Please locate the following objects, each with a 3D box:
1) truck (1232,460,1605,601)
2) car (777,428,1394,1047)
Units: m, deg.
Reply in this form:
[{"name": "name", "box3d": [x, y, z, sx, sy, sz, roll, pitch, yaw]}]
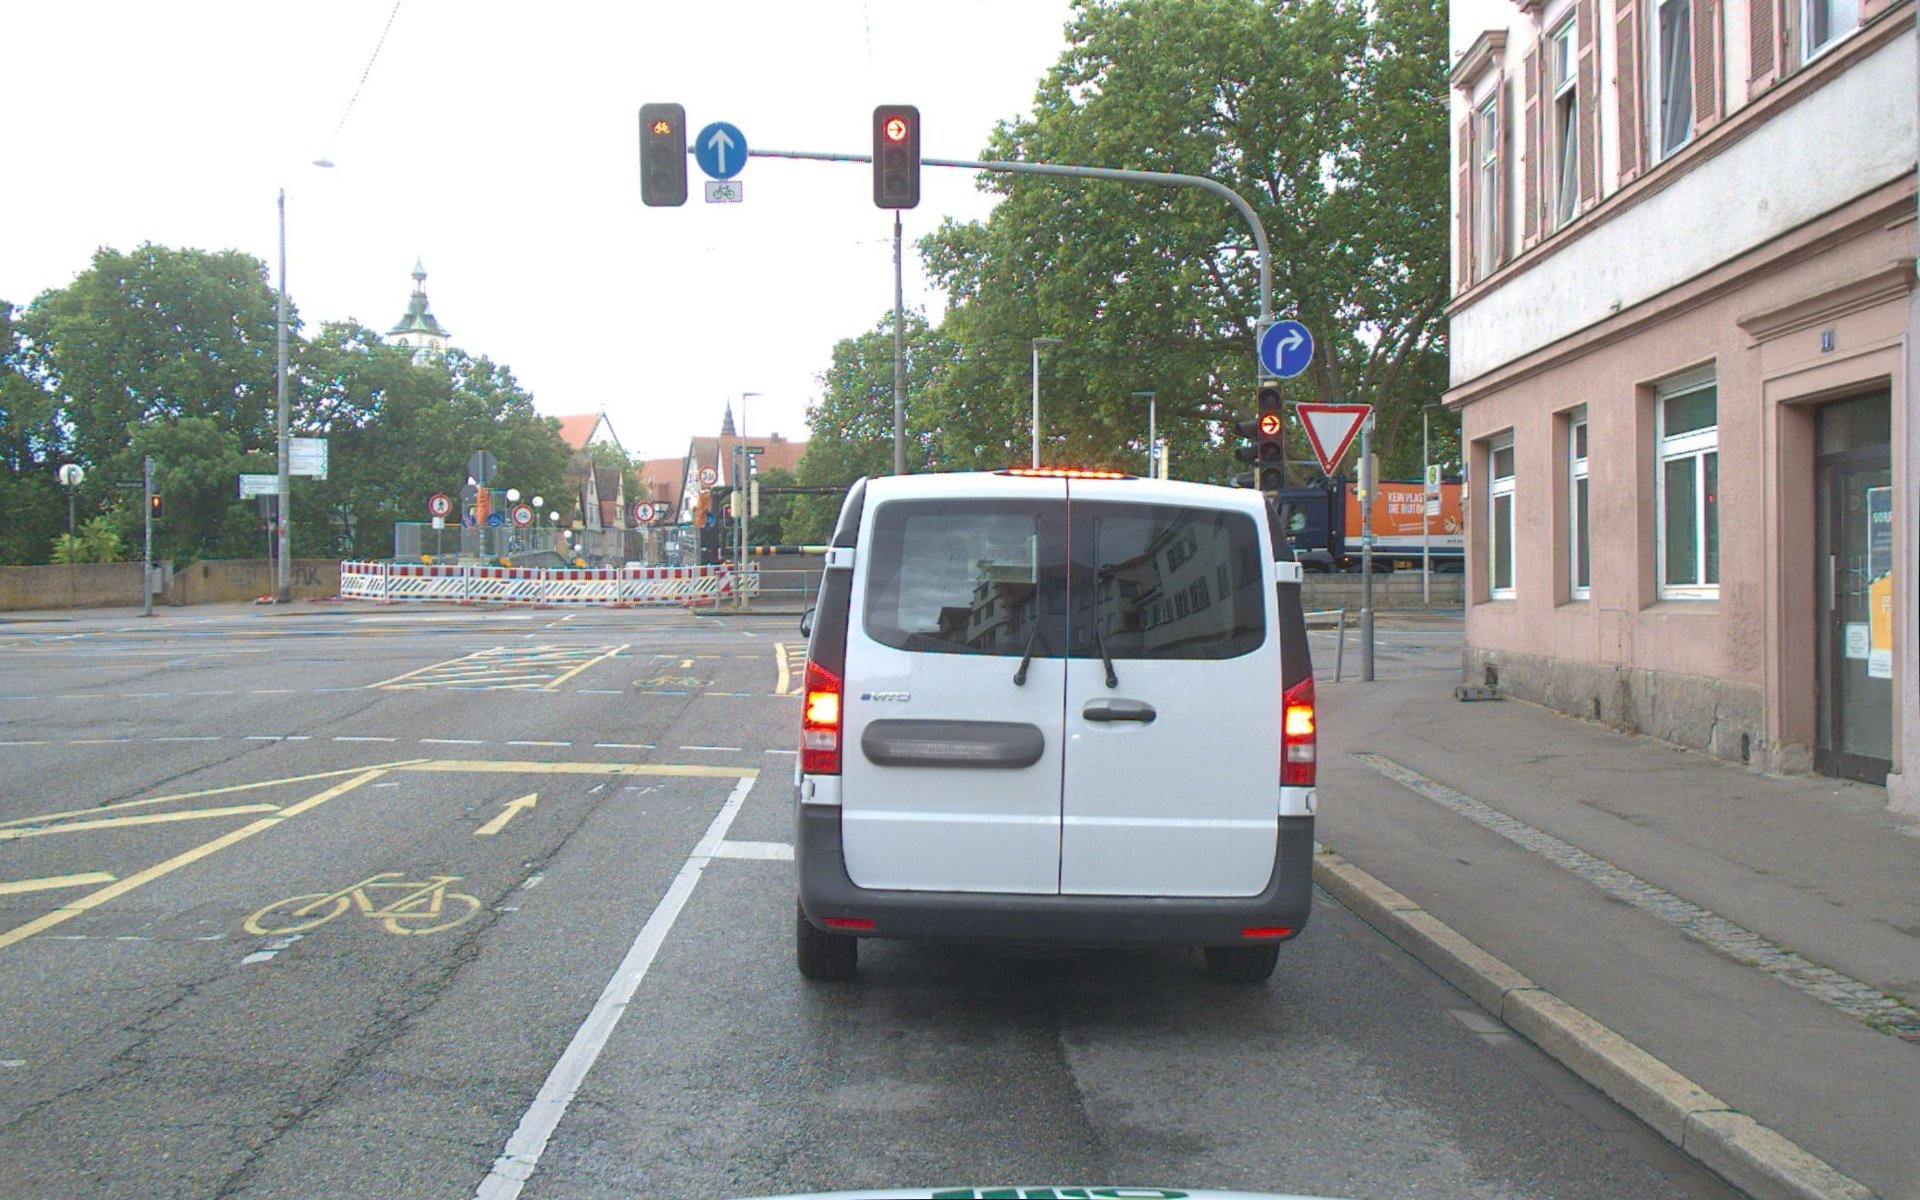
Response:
[{"name": "truck", "box3d": [12.732, -1.877, 46.037, 9.997, 3.760, 2.266, 0, 0, -9]}, {"name": "car", "box3d": [0.292, 0.375, 7.397, 1.954, 1.956, 4.247, 1, 2, -3]}]
